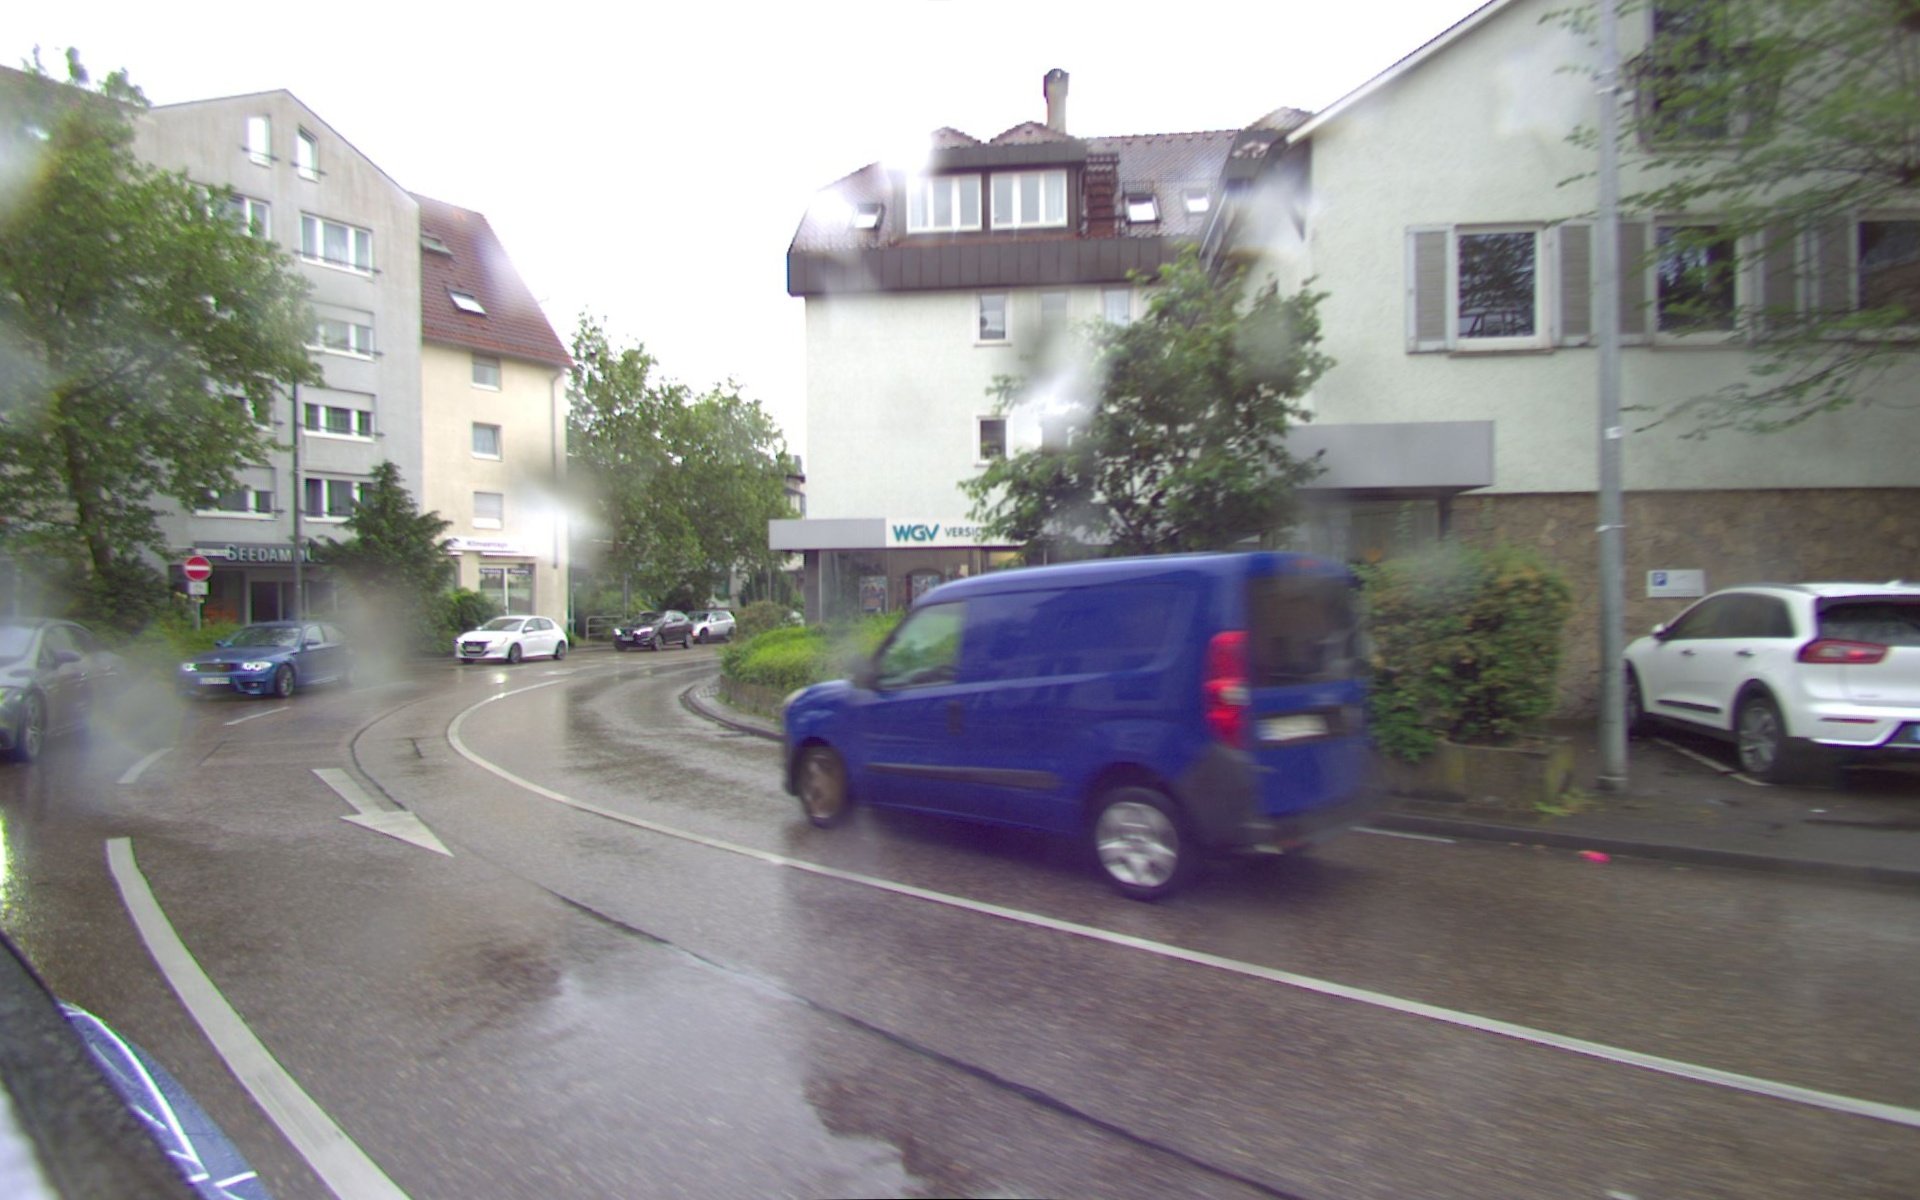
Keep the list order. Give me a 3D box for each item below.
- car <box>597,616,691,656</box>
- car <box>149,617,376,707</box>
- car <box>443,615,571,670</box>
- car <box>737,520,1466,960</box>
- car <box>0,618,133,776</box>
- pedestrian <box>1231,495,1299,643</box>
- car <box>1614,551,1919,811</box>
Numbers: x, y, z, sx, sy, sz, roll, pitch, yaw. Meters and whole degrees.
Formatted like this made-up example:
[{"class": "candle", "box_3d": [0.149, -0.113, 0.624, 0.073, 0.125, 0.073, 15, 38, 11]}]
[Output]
[{"class": "car", "box_3d": [-12.687, 1.422, 40.865, 1.978, 1.464, 3.987, -2, 0, 10]}, {"class": "car", "box_3d": [-13.572, 1.129, 20.065, 1.748, 1.544, 4.382, -1, -1, -4]}, {"class": "car", "box_3d": [-14.043, 1.280, 31.624, 1.793, 1.577, 3.990, -2, -1, 8]}, {"class": "car", "box_3d": [0.647, 0.643, 6.598, 4.377, 1.896, 1.972, -1, -2, 43]}, {"class": "car", "box_3d": [-10.888, 0.969, 10.969, 1.965, 1.504, 4.328, 0, -1, -25]}, {"class": "pedestrian", "box_3d": [3.898, -0.382, 12.981, 0.609, 1.833, 0.673, -1, -1, 0]}, {"class": "car", "box_3d": [7.124, 0.515, 8.034, 1.979, 1.641, 3.633, -1, -1, 11]}]
